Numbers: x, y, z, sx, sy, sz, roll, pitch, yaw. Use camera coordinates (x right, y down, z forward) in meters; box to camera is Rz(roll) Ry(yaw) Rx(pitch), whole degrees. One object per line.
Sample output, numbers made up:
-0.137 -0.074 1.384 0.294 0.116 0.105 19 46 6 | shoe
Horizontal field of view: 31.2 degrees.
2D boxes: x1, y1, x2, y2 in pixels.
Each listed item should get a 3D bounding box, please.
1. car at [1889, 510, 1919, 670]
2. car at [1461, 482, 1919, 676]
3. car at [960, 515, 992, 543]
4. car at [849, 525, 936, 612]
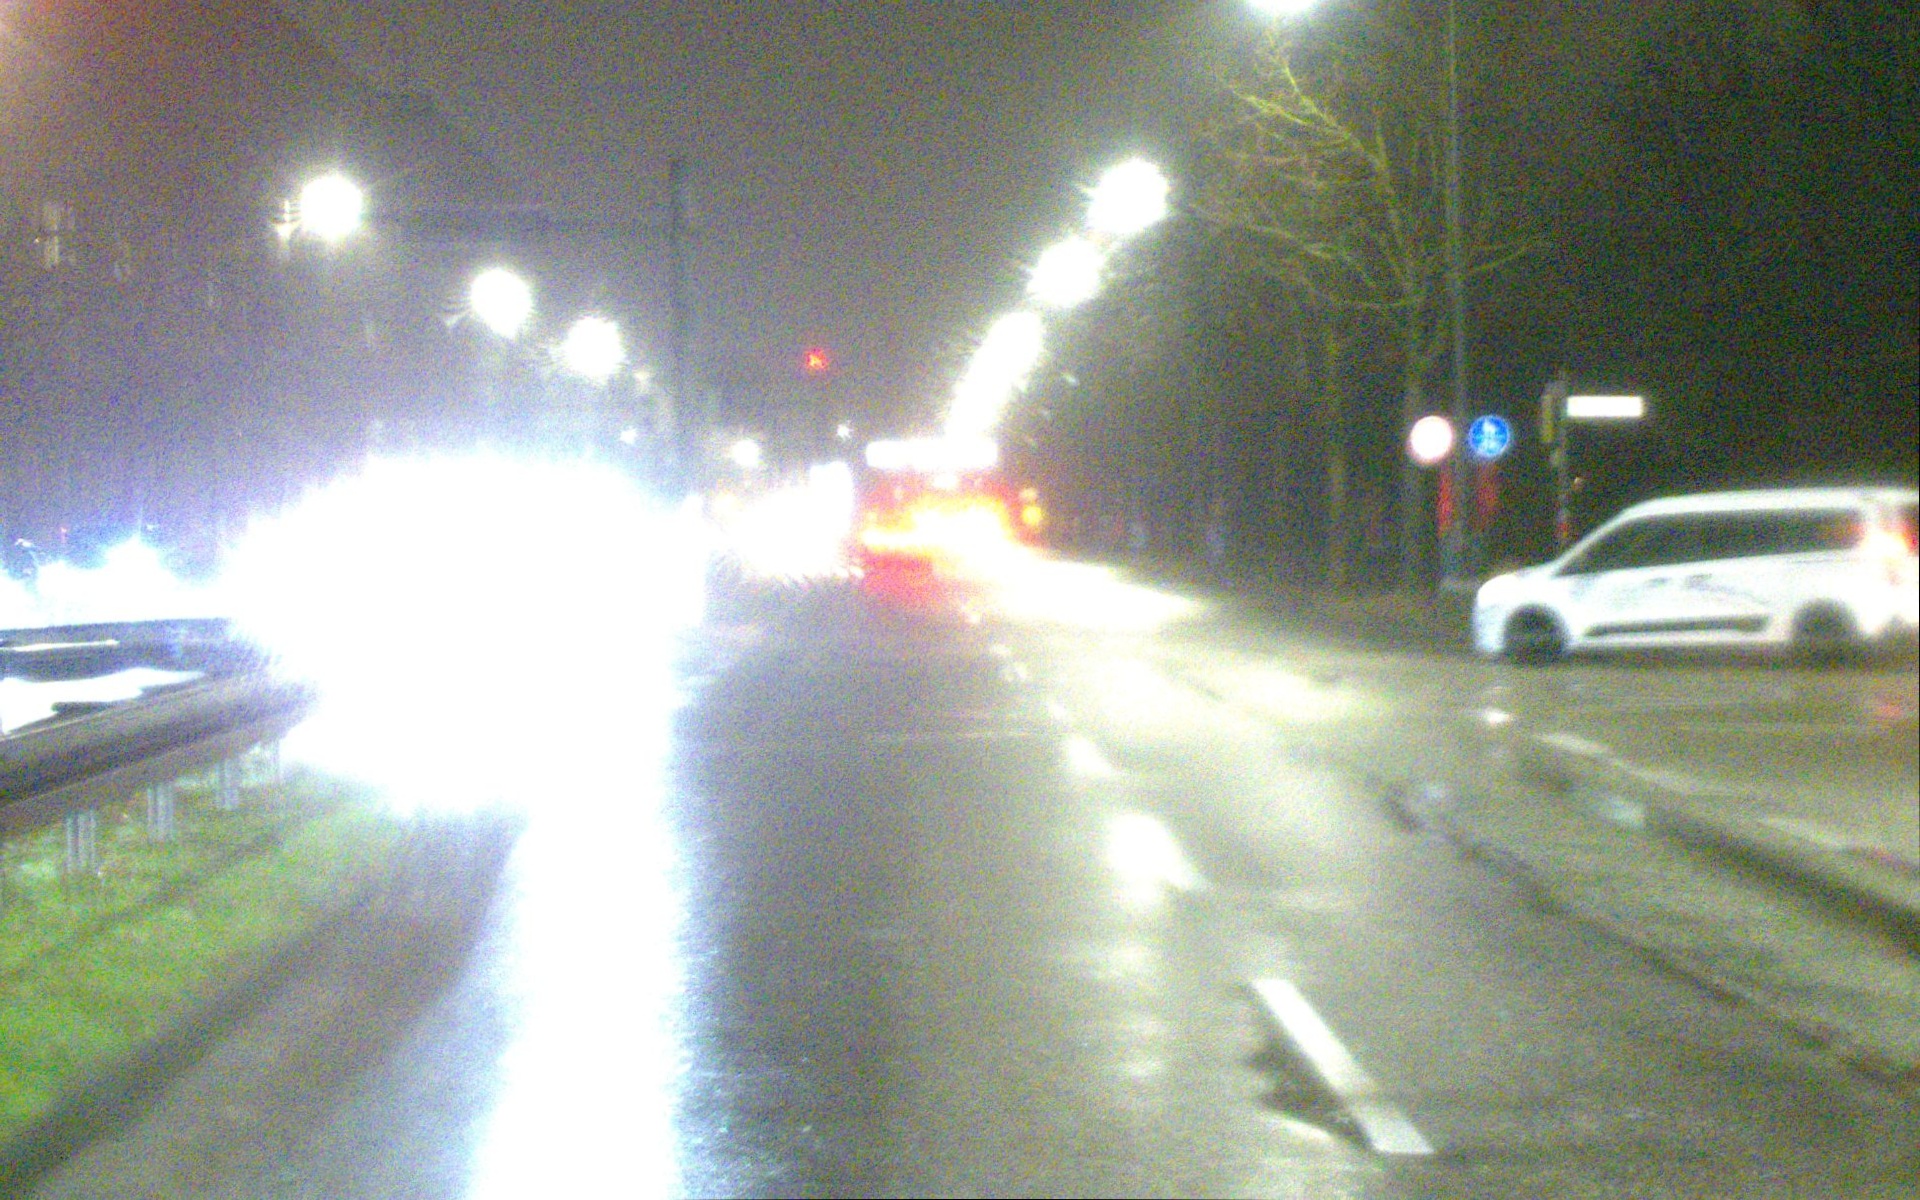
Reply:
12.152 -0.073 36.262 4.418 1.673 1.795 1 1 19 | car
7.639 -0.243 35.178 4.620 1.868 1.793 1 1 31 | car
1.002 -4.560 220.460 1.993 1.753 4.000 1 1 -1 | car
-1.716 -0.806 88.128 2.135 2.137 4.929 1 1 -1 | car
